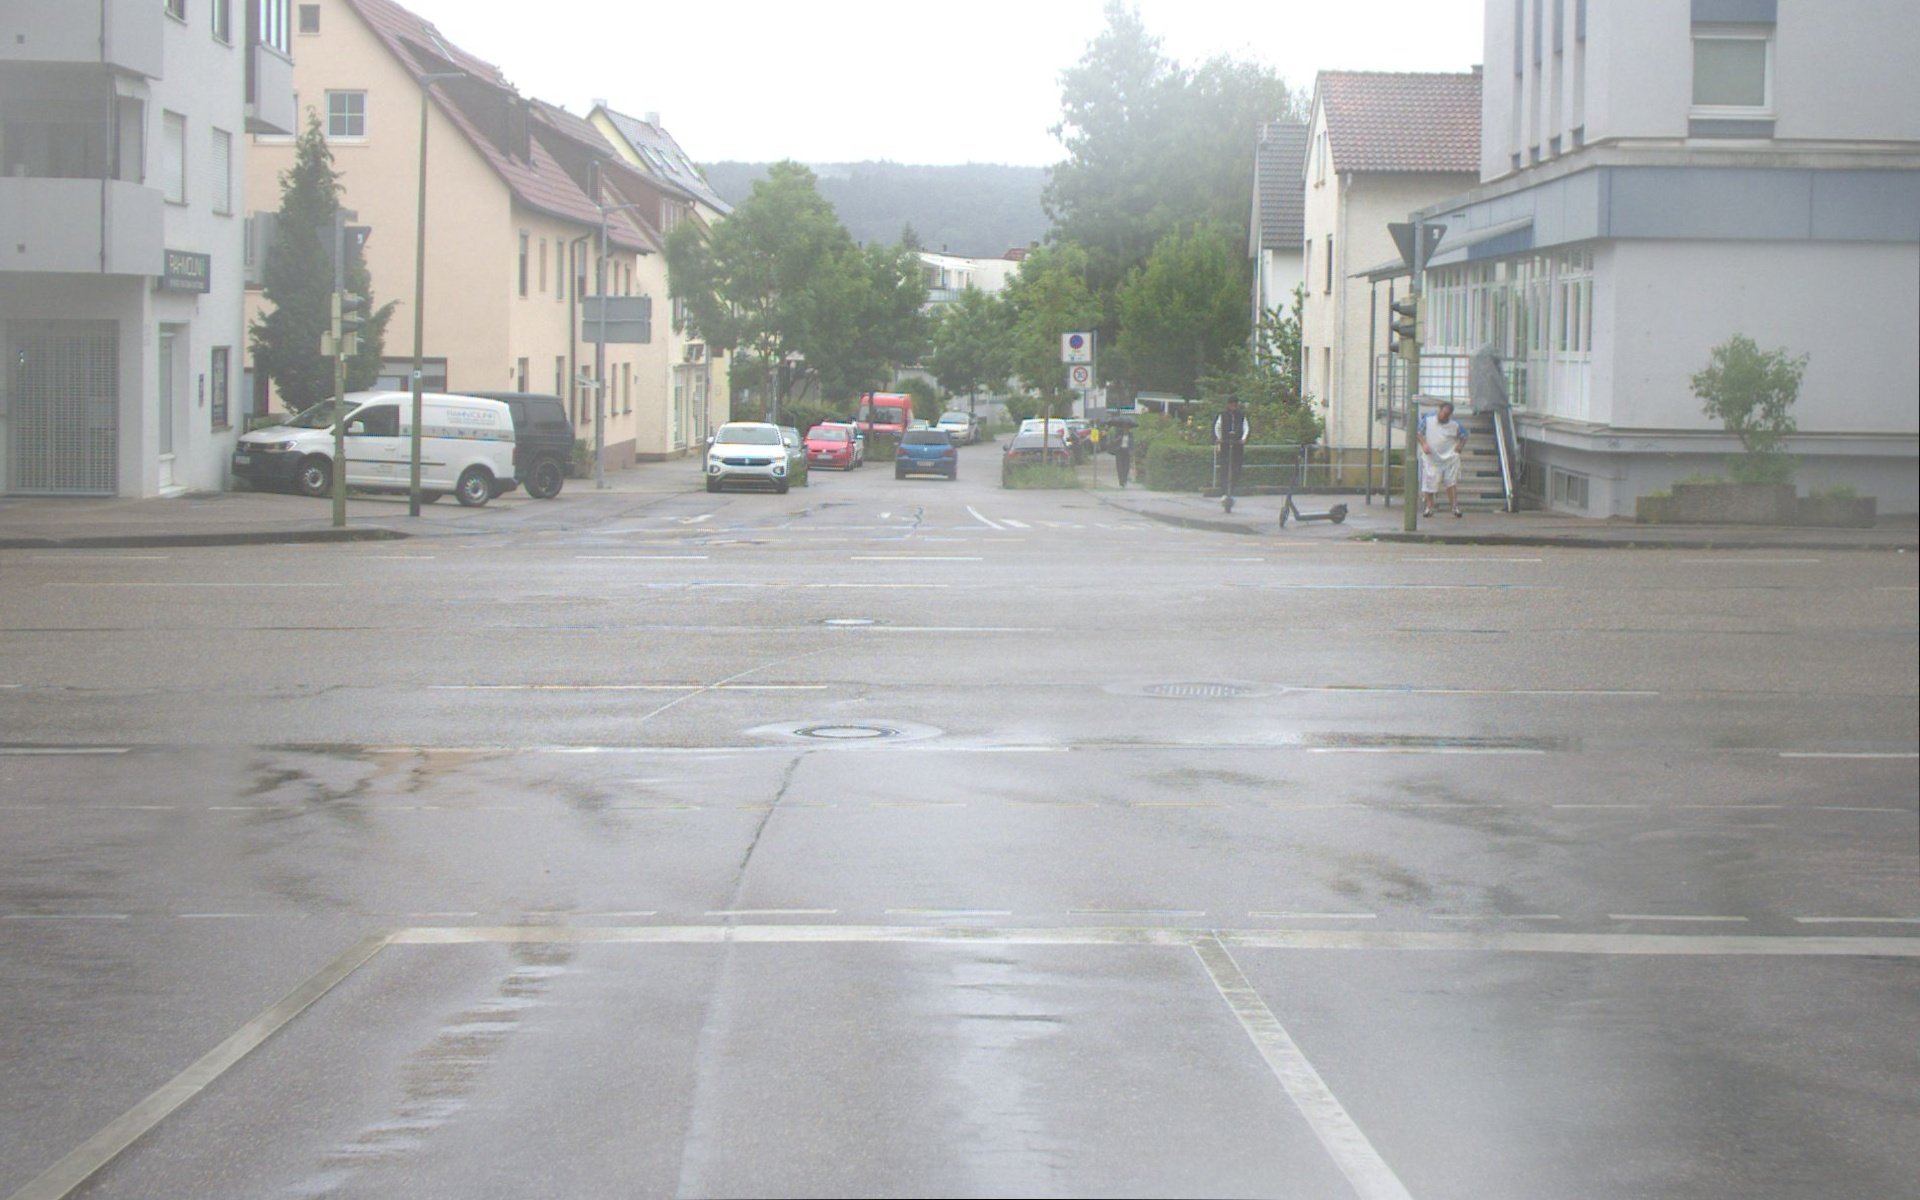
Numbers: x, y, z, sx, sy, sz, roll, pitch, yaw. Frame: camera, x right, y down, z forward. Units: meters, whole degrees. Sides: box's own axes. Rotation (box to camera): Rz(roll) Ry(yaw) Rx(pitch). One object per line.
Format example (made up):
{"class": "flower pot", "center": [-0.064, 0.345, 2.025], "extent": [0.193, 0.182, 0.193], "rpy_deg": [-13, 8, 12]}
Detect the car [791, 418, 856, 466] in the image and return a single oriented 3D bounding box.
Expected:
{"class": "car", "center": [-4.483, -5.205, 113.446], "extent": [1.901, 1.553, 4.192], "rpy_deg": [0, 3, 1]}

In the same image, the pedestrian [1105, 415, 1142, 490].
{"class": "pedestrian", "center": [4.143, -3.737, 87.081], "extent": [0.745, 1.842, 0.526], "rpy_deg": [3, 2, -6]}

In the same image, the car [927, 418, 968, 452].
{"class": "car", "center": [-0.596, -7.851, 163.622], "extent": [1.901, 1.553, 4.192], "rpy_deg": [0, 3, 1]}

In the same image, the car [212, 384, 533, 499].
{"class": "car", "center": [-9.660, -2.625, 56.734], "extent": [4.830, 1.829, 2.000], "rpy_deg": [-2, 3, -38]}

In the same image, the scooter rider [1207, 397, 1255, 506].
{"class": "scooter rider", "center": [4.507, -2.473, 57.194], "extent": [0.752, 1.789, 0.673], "rpy_deg": [0, 2, 2]}

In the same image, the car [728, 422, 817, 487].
{"class": "car", "center": [-4.798, -3.761, 88.420], "extent": [1.993, 1.620, 4.192], "rpy_deg": [0, 3, 1]}

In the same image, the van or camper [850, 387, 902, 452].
{"class": "van or camper", "center": [-3.309, -7.095, 135.527], "extent": [1.901, 2.504, 4.239], "rpy_deg": [0, 3, 1]}

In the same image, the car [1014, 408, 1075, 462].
{"class": "car", "center": [2.743, -5.395, 112.559], "extent": [1.901, 1.739, 4.192], "rpy_deg": [0, 3, 1]}

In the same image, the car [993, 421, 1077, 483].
{"class": "car", "center": [1.942, -3.902, 90.435], "extent": [2.146, 1.583, 4.128], "rpy_deg": [0, 3, 1]}

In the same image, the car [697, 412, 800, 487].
{"class": "car", "center": [-4.700, -3.382, 77.020], "extent": [1.993, 1.620, 4.192], "rpy_deg": [0, 3, 1]}

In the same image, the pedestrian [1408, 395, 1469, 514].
{"class": "pedestrian", "center": [6.787, -2.060, 48.746], "extent": [0.647, 1.641, 0.526], "rpy_deg": [3, 2, -6]}

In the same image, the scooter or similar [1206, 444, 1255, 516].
{"class": "scooter or similar", "center": [4.497, -2.005, 57.189], "extent": [0.757, 1.167, 1.314], "rpy_deg": [0, 3, 2]}

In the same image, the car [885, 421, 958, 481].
{"class": "car", "center": [-1.138, -4.316, 99.409], "extent": [1.993, 1.678, 4.001], "rpy_deg": [0, 3, -2]}

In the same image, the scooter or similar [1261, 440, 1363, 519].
{"class": "scooter or similar", "center": [4.871, -1.679, 47.668], "extent": [1.268, 1.077, 0.877], "rpy_deg": [-1, 3, -4]}
